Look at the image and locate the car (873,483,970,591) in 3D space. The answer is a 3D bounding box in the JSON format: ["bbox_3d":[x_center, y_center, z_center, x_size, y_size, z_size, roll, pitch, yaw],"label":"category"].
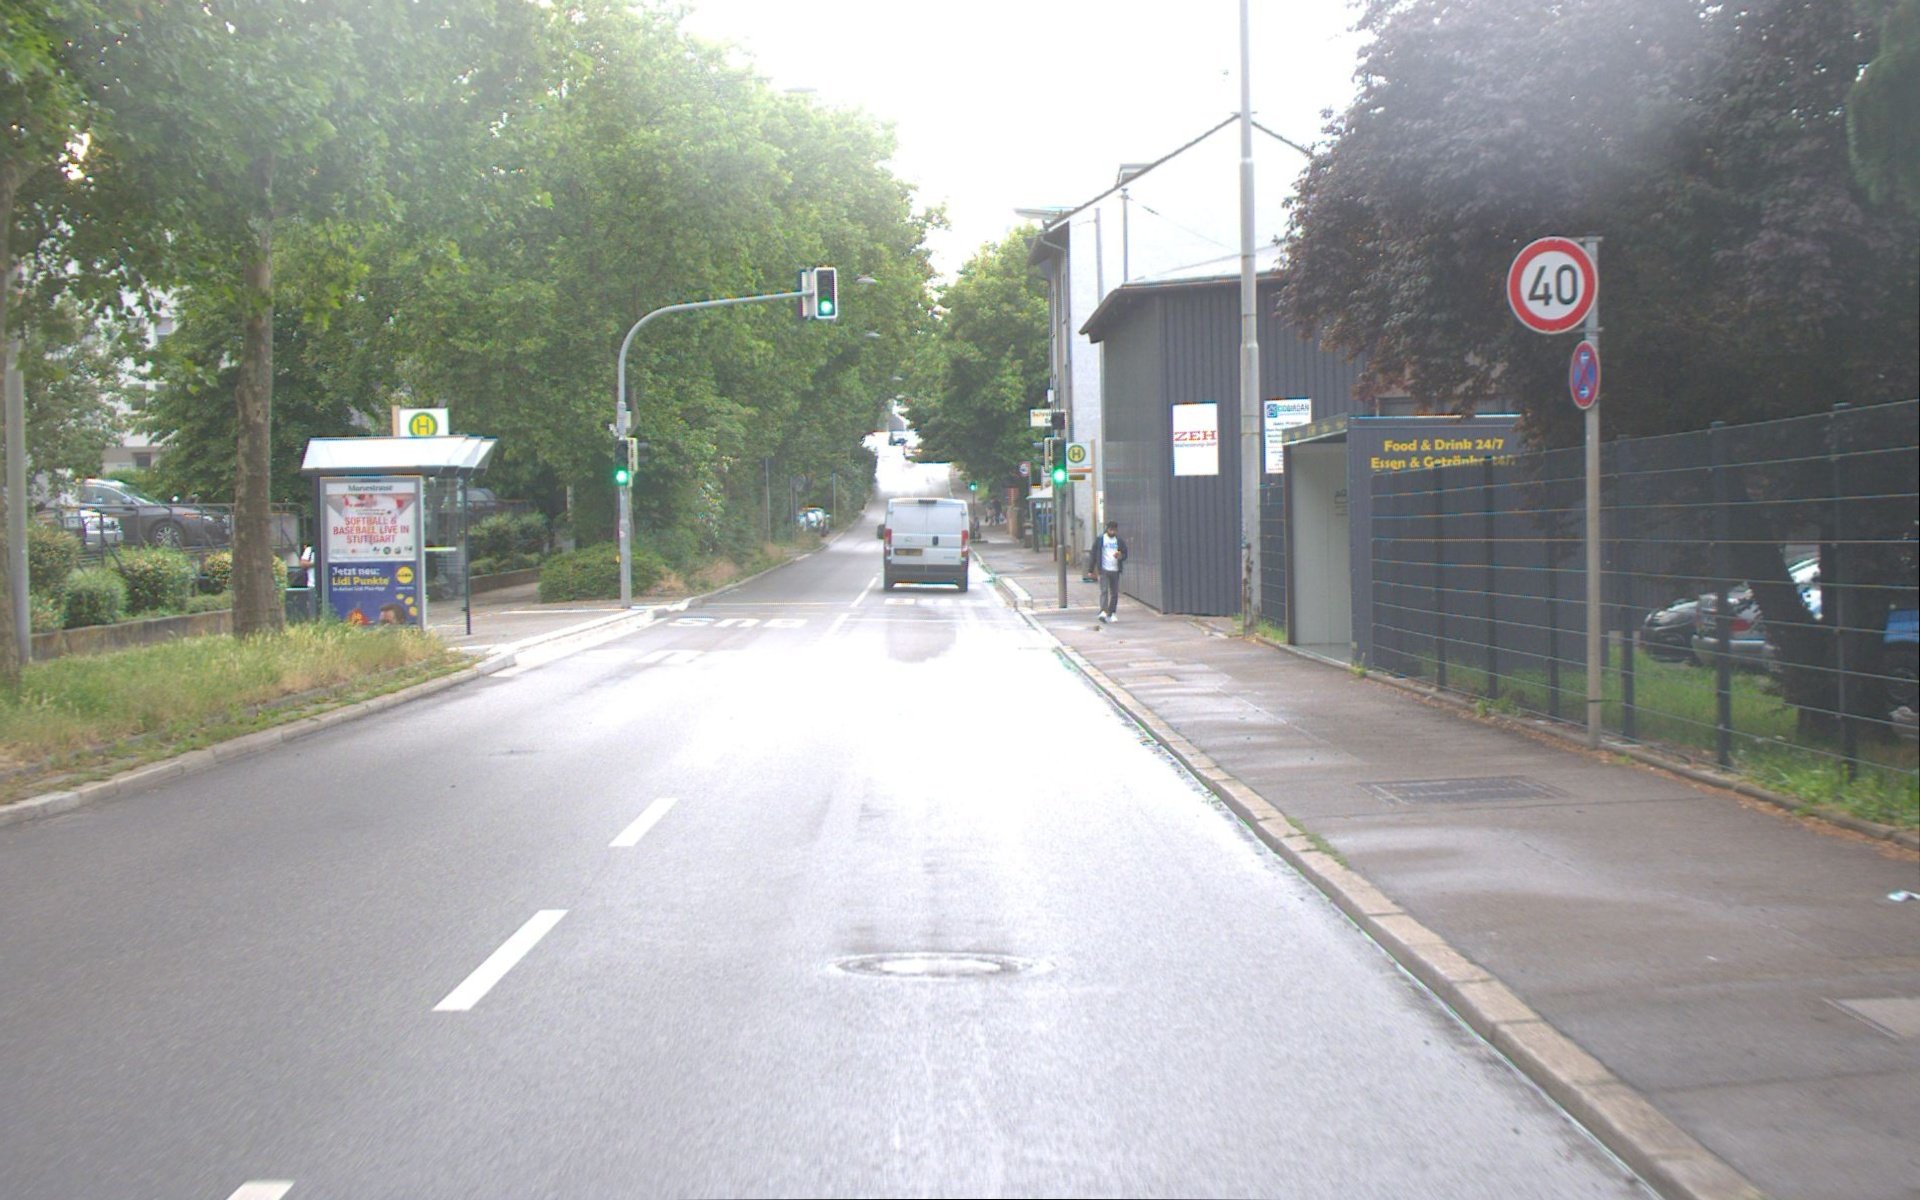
[{"bbox_3d":[-0.912,-1.495,83.375,2.282,2.544,4.000,0,0,0],"label":"car"}]

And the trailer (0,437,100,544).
[{"bbox_3d":[-14.998,-1.710,53.742,2.704,1.639,1.480,1,1,0],"label":"trailer"}]

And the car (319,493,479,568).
[{"bbox_3d":[-15.556,-1.924,95.459,4.167,2.007,1.719,1,1,-3],"label":"car"}]

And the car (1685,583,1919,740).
[{"bbox_3d":[9.749,0.592,34.826,4.378,1.525,1.794,0,0,-2],"label":"car"}]

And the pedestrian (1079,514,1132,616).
[{"bbox_3d":[2.434,-0.584,57.669,0.742,1.698,0.902,1,0,-6],"label":"pedestrian"}]

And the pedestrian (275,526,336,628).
[{"bbox_3d":[-10.607,-0.367,55.725,0.741,1.593,0.606,-4,-1,3],"label":"pedestrian"}]

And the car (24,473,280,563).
[{"bbox_3d":[-15.805,-1.602,67.426,4.545,1.666,2.000,1,1,-1],"label":"car"}]

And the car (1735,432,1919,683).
[{"bbox_3d":[10.129,-0.354,31.431,5.566,2.203,2.000,1,1,-2],"label":"car"}]

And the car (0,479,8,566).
[{"bbox_3d":[-16.579,-1.210,51.546,4.088,1.298,1.810,1,0,0],"label":"car"}]
